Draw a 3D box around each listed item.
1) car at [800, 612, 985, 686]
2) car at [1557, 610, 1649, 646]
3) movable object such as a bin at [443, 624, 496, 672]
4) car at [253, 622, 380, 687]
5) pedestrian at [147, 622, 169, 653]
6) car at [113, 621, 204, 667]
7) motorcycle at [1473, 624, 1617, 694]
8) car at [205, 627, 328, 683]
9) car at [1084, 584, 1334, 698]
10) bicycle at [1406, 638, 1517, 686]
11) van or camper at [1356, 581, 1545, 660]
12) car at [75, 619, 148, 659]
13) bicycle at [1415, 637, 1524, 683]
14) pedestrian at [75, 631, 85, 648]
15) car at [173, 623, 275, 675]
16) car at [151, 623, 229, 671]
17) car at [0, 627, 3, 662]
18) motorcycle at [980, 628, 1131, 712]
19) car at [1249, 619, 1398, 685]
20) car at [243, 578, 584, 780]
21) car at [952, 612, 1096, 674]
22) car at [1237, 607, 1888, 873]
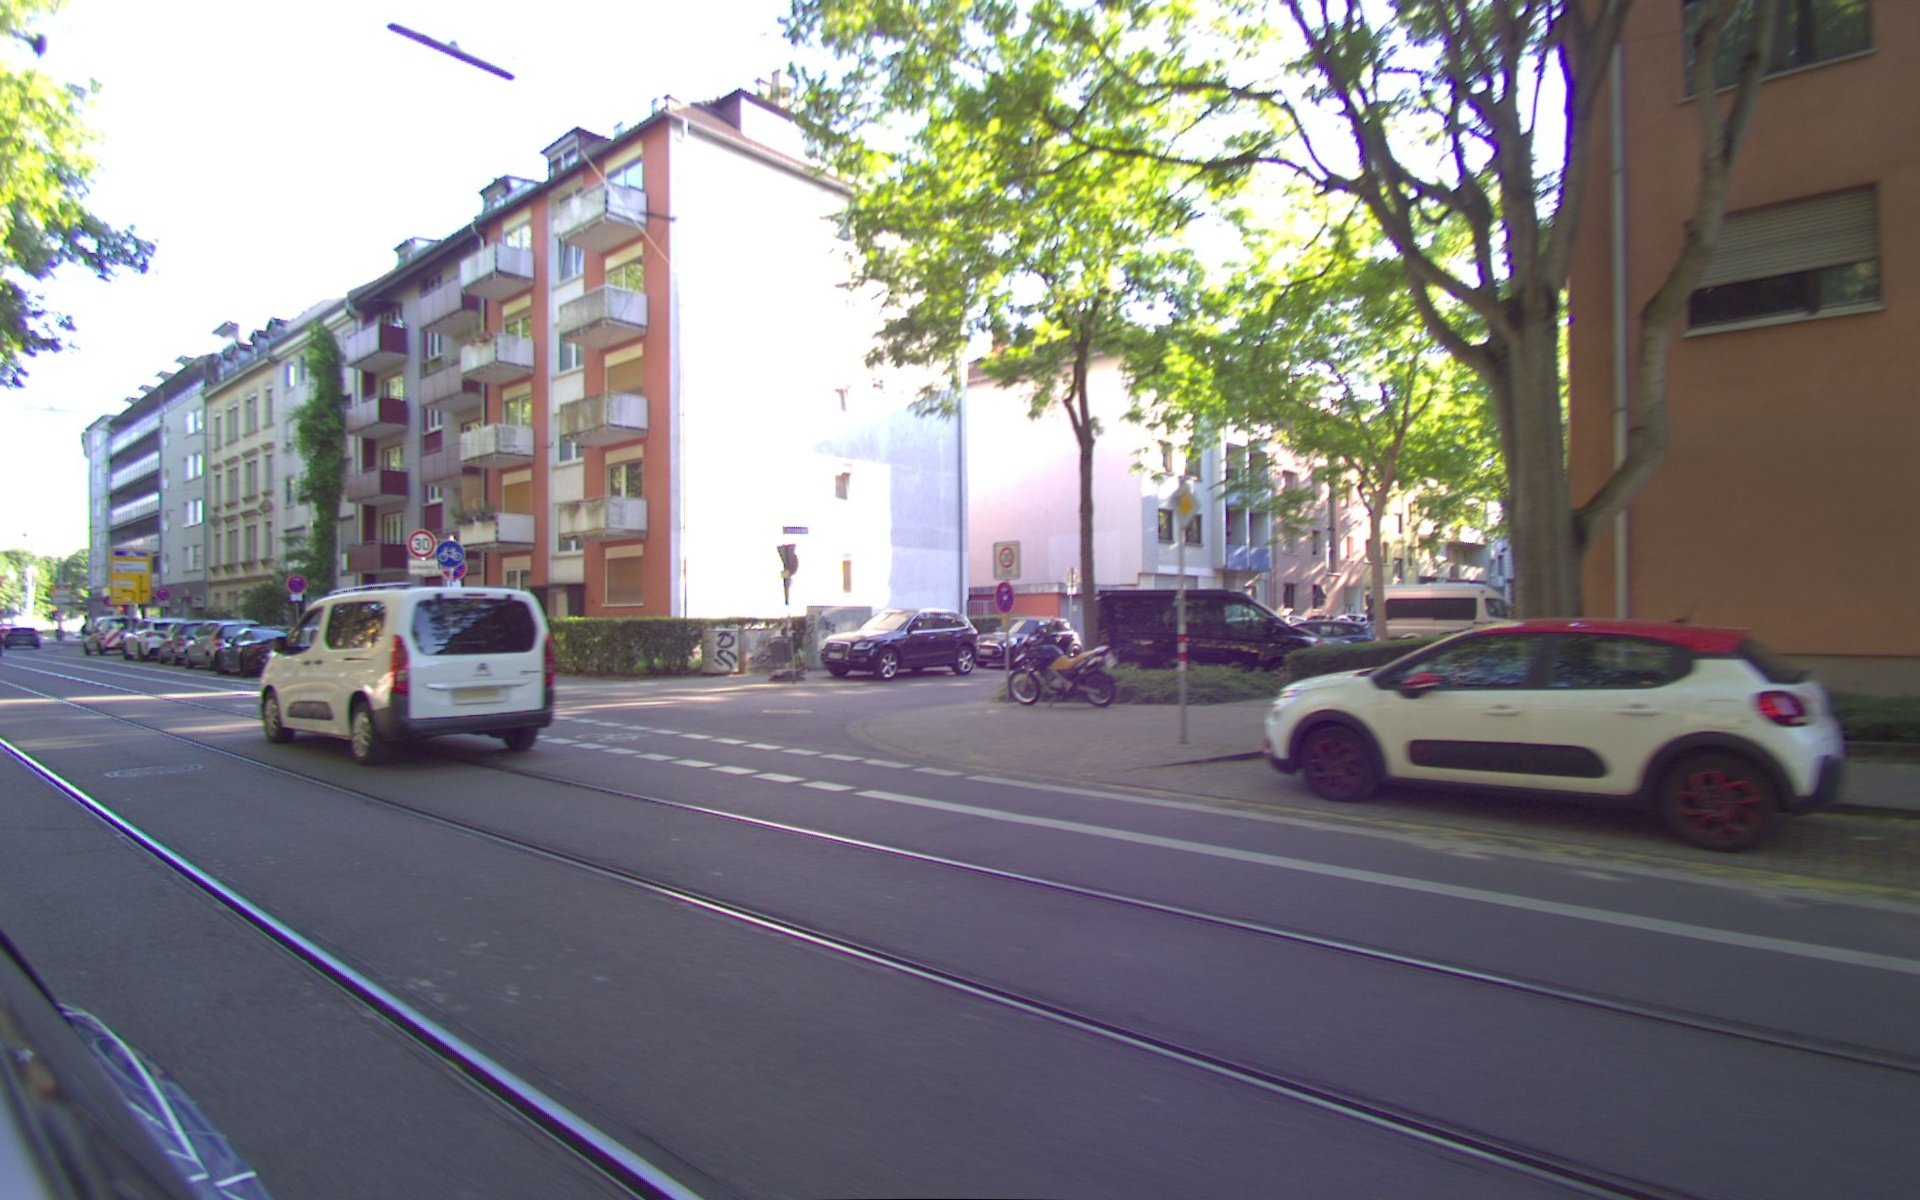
[{"bbox_3d":[-1.565,1.130,24.888,1.937,1.619,4.485,0,0,41],"label":"car"},{"bbox_3d":[36.717,1.588,57.884,3.954,2.029,1.822,-1,-1,9],"label":"car"},{"bbox_3d":[-14.413,1.398,29.738,0.747,1.375,1.198,-2,-2,43],"label":"movable object such as a bin"},{"bbox_3d":[-16.900,1.385,26.520,3.927,1.494,1.708,-2,1,41],"label":"car"},{"bbox_3d":[-47.283,2.203,59.685,0.735,1.798,0.856,-2,0,40],"label":"pedestrian"},{"bbox_3d":[-32.086,1.717,40.455,4.878,1.661,1.932,-1,0,41],"label":"car"},{"bbox_3d":[10.089,0.988,17.505,2.065,1.138,0.687,-2,-2,41],"label":"motorcycle"},{"bbox_3d":[-20.675,1.575,30.085,4.862,1.405,1.931,-2,1,43],"label":"car"},{"bbox_3d":[4.980,0.796,20.601,4.676,2.139,1.992,-1,0,13],"label":"car"},{"bbox_3d":[9.925,1.208,20.071,1.869,0.878,0.602,-1,-1,41],"label":"bicycle"},{"bbox_3d":[17.029,0.728,35.465,5.487,2.649,2.250,0,-1,11],"label":"van or camper"},{"bbox_3d":[-40.214,1.830,47.950,4.465,1.784,1.771,-2,0,39],"label":"car"},{"bbox_3d":[10.340,1.196,20.572,1.869,0.878,0.634,-1,-1,41],"label":"bicycle"},{"bbox_3d":[-86.288,3.878,99.269,0.706,1.686,0.905,1,-2,-40],"label":"pedestrian"},{"bbox_3d":[-24.508,1.592,33.668,4.001,1.599,1.801,-2,-1,40],"label":"car"},{"bbox_3d":[-28.125,1.667,36.932,3.781,1.583,1.608,-1,0,43],"label":"car"},{"bbox_3d":[-47.096,2.118,47.993,4.457,1.612,1.836,-1,1,38],"label":"car"},{"bbox_3d":[1.538,1.153,16.623,2.346,1.290,0.893,-4,-4,39],"label":"motorcycle"},{"bbox_3d":[8.918,1.255,25.072,3.286,1.556,1.627,-1,-1,13],"label":"car"},{"bbox_3d":[-6.425,0.779,11.617,4.893,1.846,1.872,-1,-2,41],"label":"car"},{"bbox_3d":[1.912,1.177,29.227,1.937,1.619,4.262,0,0,41],"label":"car"},{"bbox_3d":[4.494,0.852,7.962,4.089,1.489,1.787,-1,1,42],"label":"car"}]
